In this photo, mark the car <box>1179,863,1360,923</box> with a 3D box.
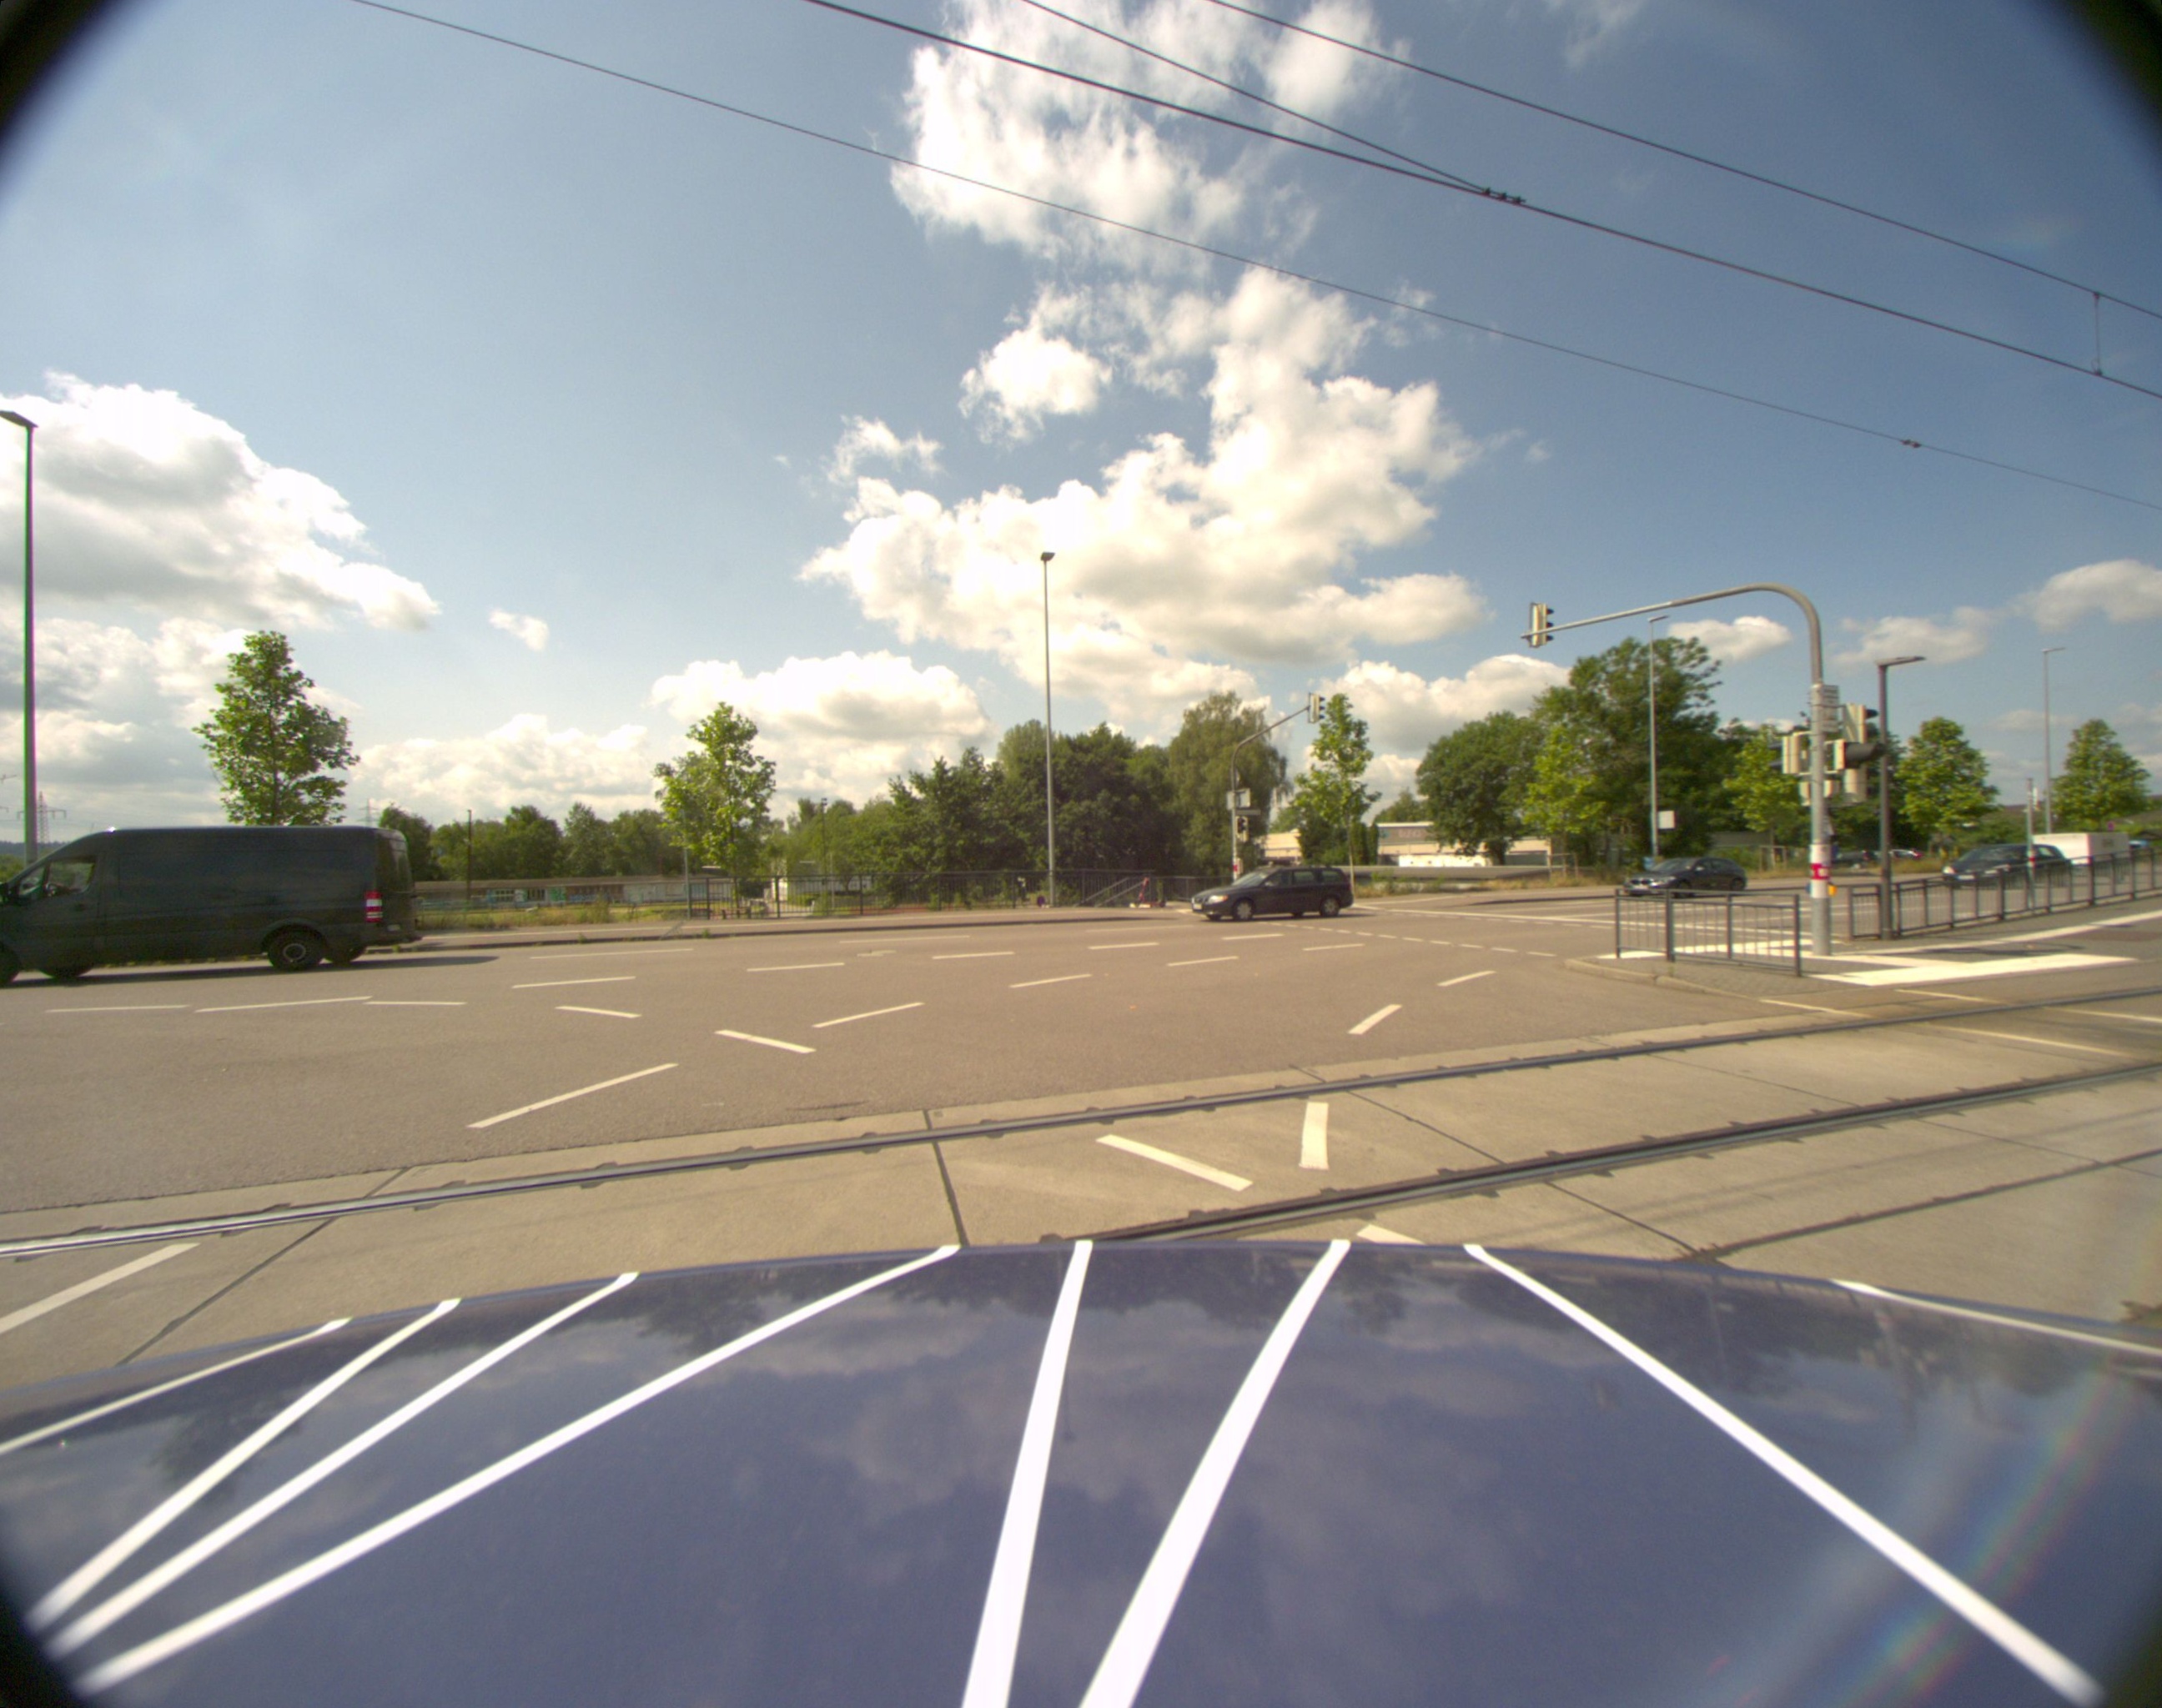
[{"bbox_3d":[5.444,1.069,22.045,4.786,1.499,1.964,-1,0,-18],"label":"car"}]

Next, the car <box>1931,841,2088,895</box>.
[{"bbox_3d":[33.113,0.470,27.093,5.256,1.565,1.996,-3,1,-21],"label":"car"}]

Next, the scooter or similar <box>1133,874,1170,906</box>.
[{"bbox_3d":[2.507,1.270,26.923,1.251,1.092,0.343,0,0,-18],"label":"scooter or similar"}]

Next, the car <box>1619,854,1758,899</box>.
[{"bbox_3d":[21.771,0.783,27.267,4.071,1.438,1.728,-1,0,-13],"label":"car"}]

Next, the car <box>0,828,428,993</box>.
[{"bbox_3d":[-15.711,0.909,13.662,5.683,2.589,1.989,0,-1,-25],"label":"car"}]

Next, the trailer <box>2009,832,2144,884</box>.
[{"bbox_3d":[38.027,0.120,29.010,5.188,1.820,1.821,-1,1,-22],"label":"trailer"}]
